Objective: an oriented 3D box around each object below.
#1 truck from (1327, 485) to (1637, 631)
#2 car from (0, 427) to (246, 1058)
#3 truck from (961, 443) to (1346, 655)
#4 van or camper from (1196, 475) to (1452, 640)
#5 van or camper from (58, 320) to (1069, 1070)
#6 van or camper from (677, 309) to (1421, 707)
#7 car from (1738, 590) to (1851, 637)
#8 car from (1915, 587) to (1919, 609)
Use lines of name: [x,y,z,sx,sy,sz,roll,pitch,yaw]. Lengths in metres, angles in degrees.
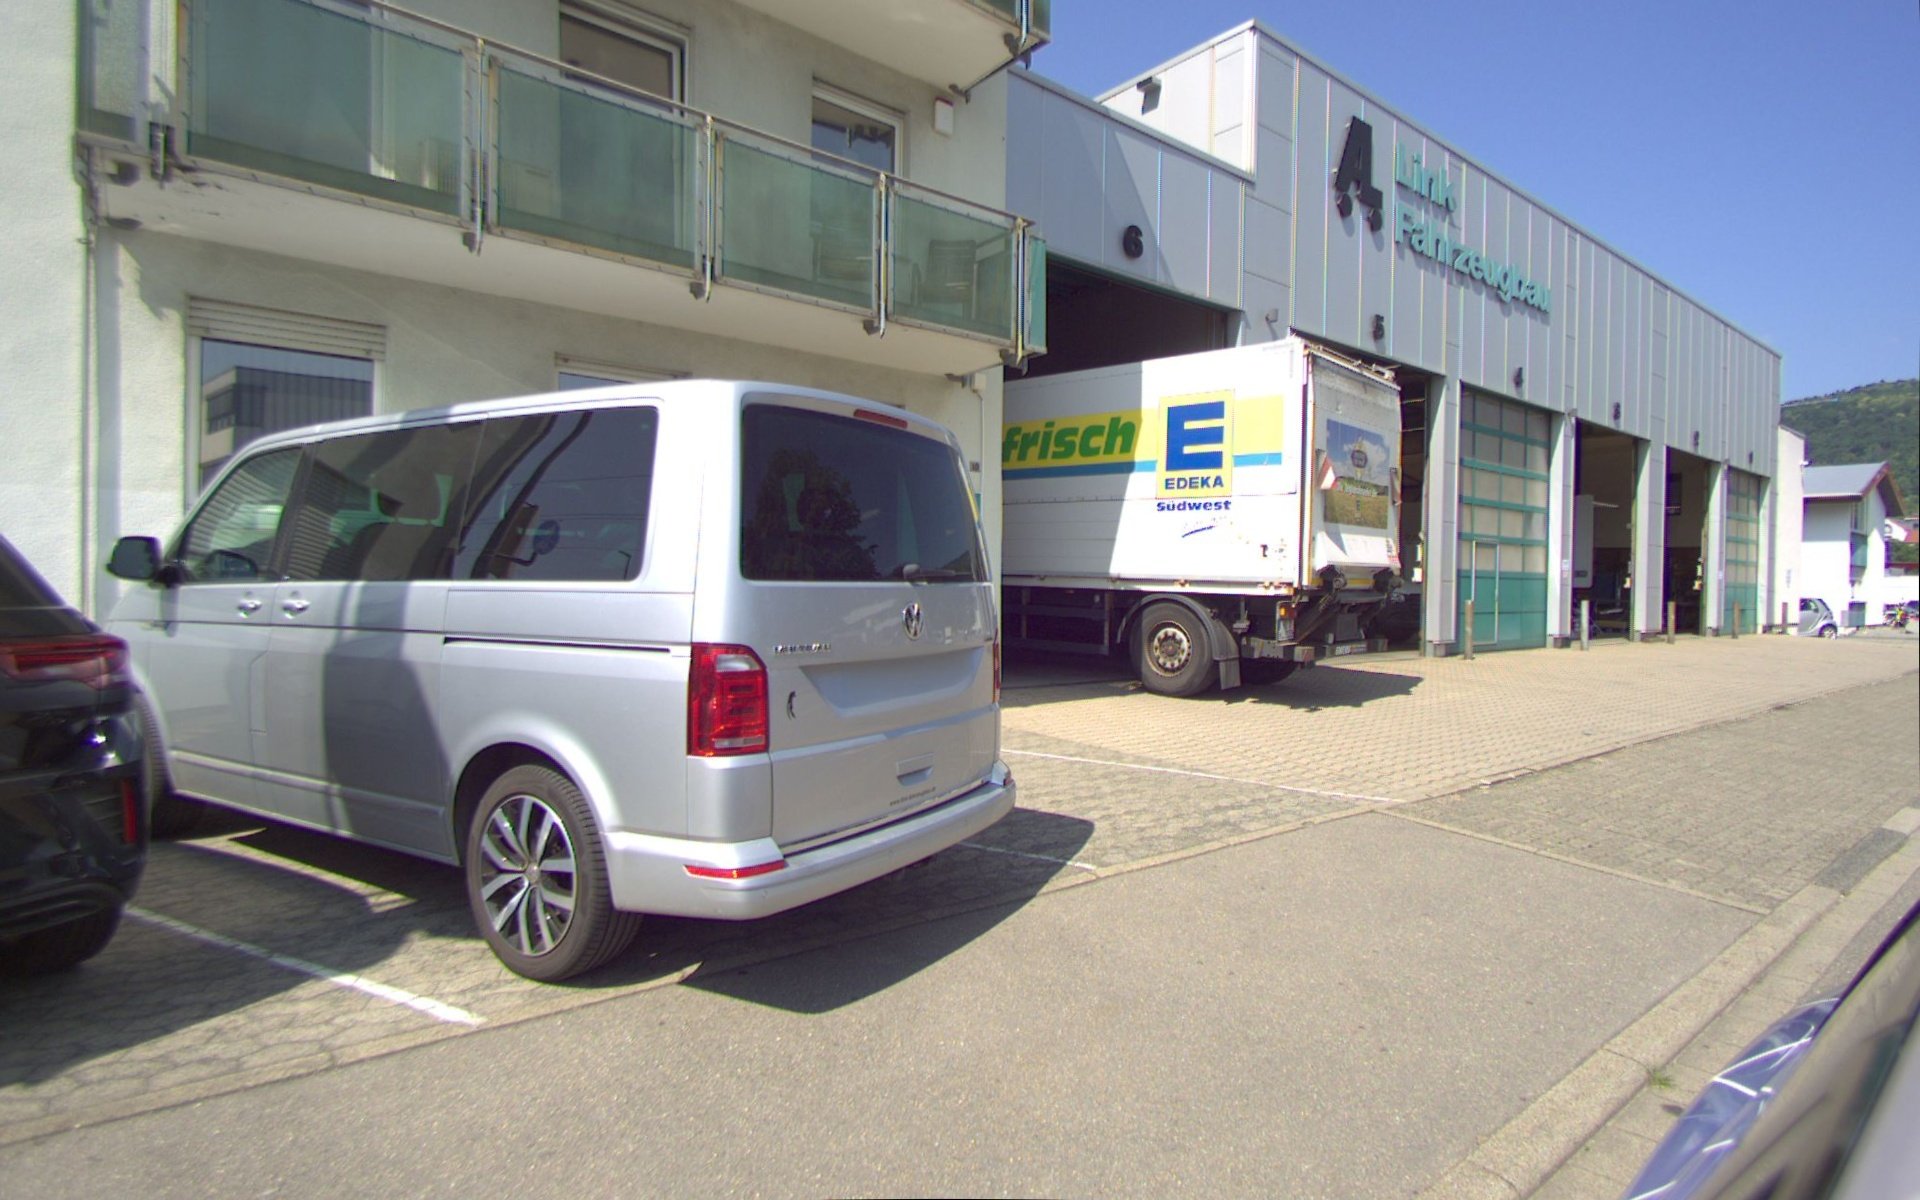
truck: [15.319,-1.248,30.375,2.577,3.828,7.857,0,2,-38]
car: [-4.254,0.308,3.013,3.934,1.540,1.863,2,1,27]
truck: [3.433,-0.975,20.357,2.434,3.446,7.973,0,2,-38]
van or camper: [7.932,-0.903,22.517,1.965,3.246,5.052,-1,1,-41]
van or camper: [-1.985,0.152,4.637,4.520,1.931,1.978,3,1,31]
van or camper: [0.135,-1.050,14.585,11.604,3.738,2.737,2,2,45]
car: [29.002,0.456,35.225,2.772,1.553,1.311,1,0,4]
car: [63.497,-0.147,66.034,3.133,1.396,1.450,-1,0,-43]
